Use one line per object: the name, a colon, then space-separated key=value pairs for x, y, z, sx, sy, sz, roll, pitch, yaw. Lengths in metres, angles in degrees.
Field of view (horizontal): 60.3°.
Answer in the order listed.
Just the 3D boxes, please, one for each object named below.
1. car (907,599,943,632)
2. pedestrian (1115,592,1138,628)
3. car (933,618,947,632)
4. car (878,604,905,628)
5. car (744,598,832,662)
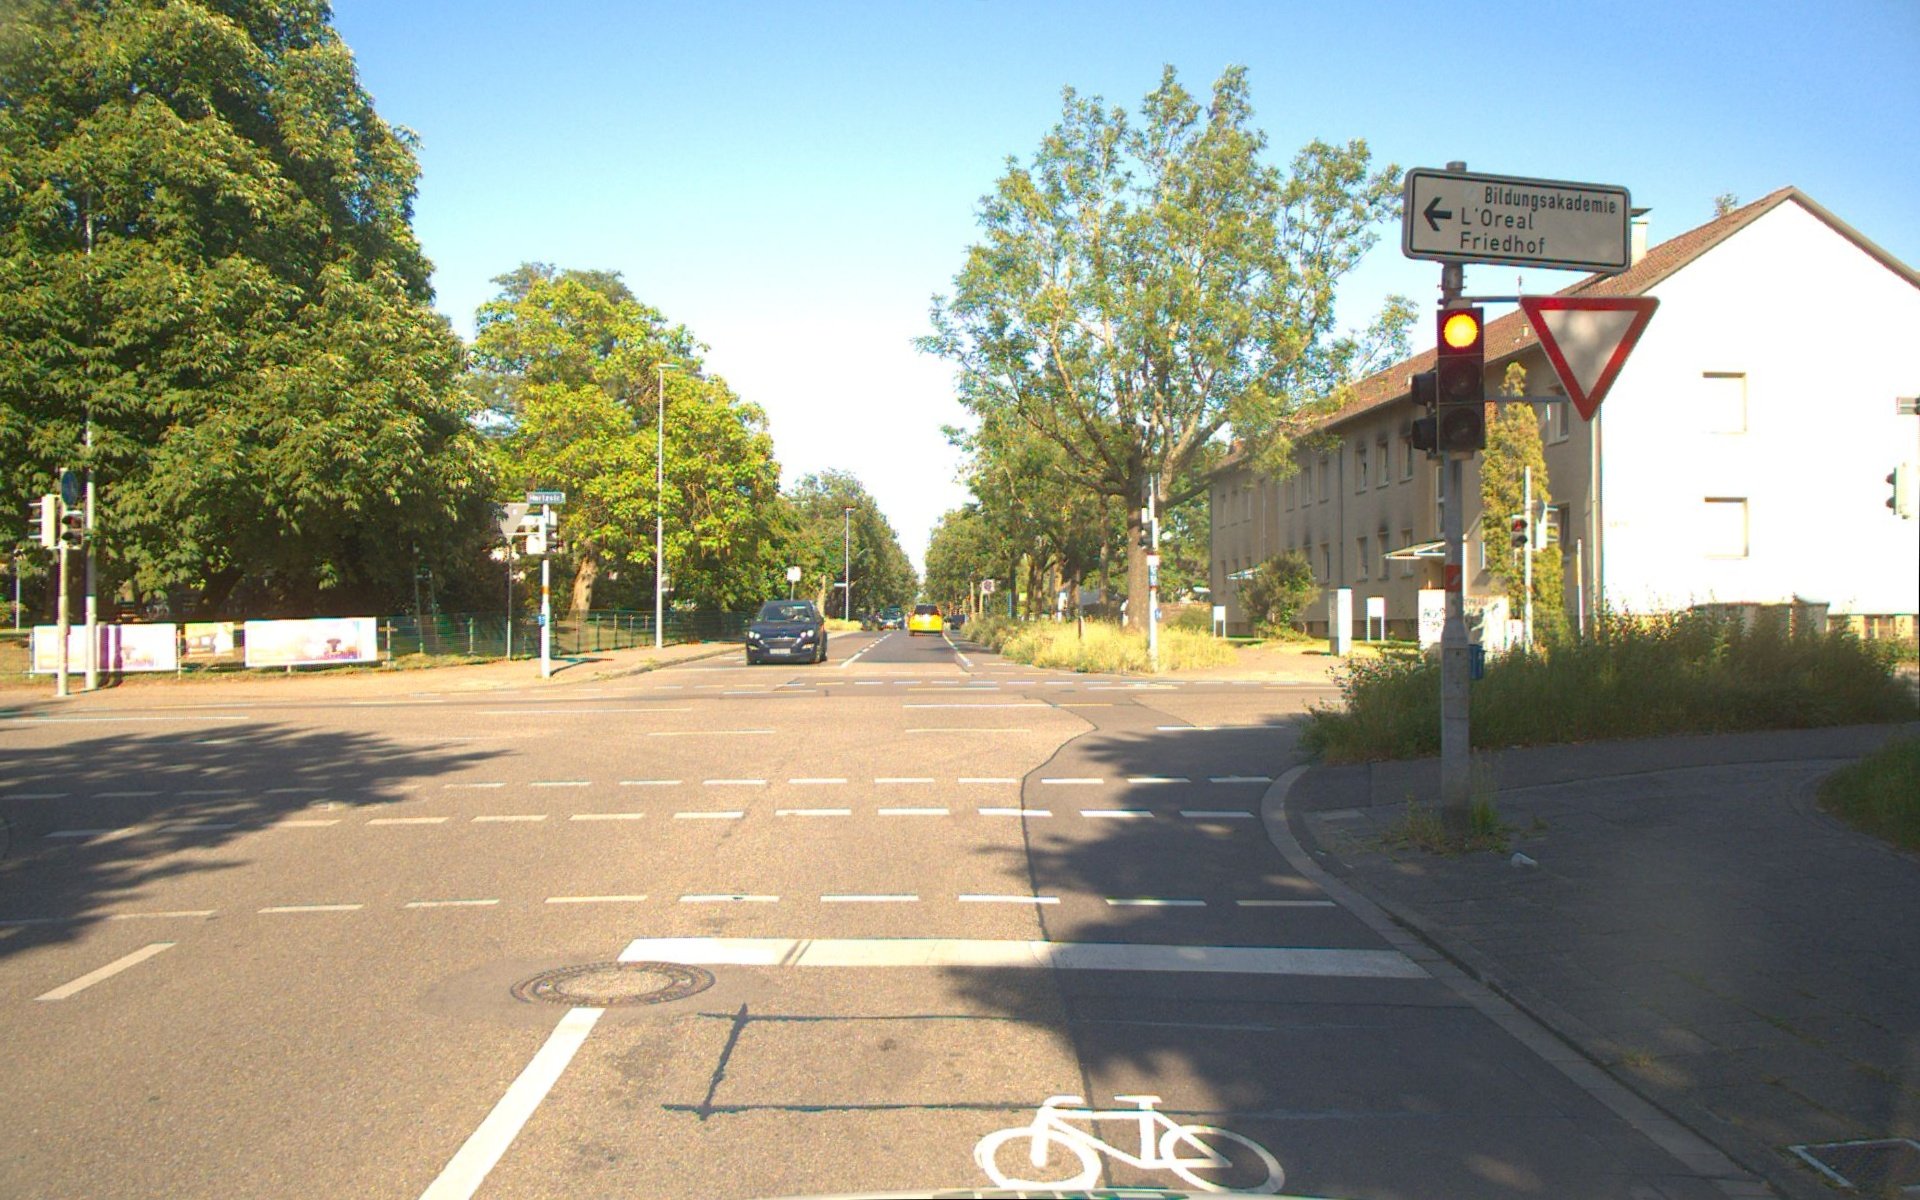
car: x=-1.724 y=0.782 z=82.856 sx=1.716 sy=1.610 sz=3.999 roll=1 pitch=0 yaw=-1
pedestrian: x=7.148 y=0.415 z=71.049 sx=0.825 sy=1.519 sz=0.924 roll=2 pitch=0 yaw=-1
car: x=-2.655 y=3.327 z=219.151 sx=1.737 sy=1.785 sz=3.999 roll=1 pitch=0 yaw=-1
car: x=-4.906 y=1.132 z=118.793 sx=1.722 sy=1.653 sz=3.268 roll=0 pitch=0 yaw=0
car: x=-3.954 y=0.662 z=38.548 sx=1.676 sy=1.410 sz=3.471 roll=0 pitch=0 yaw=0
